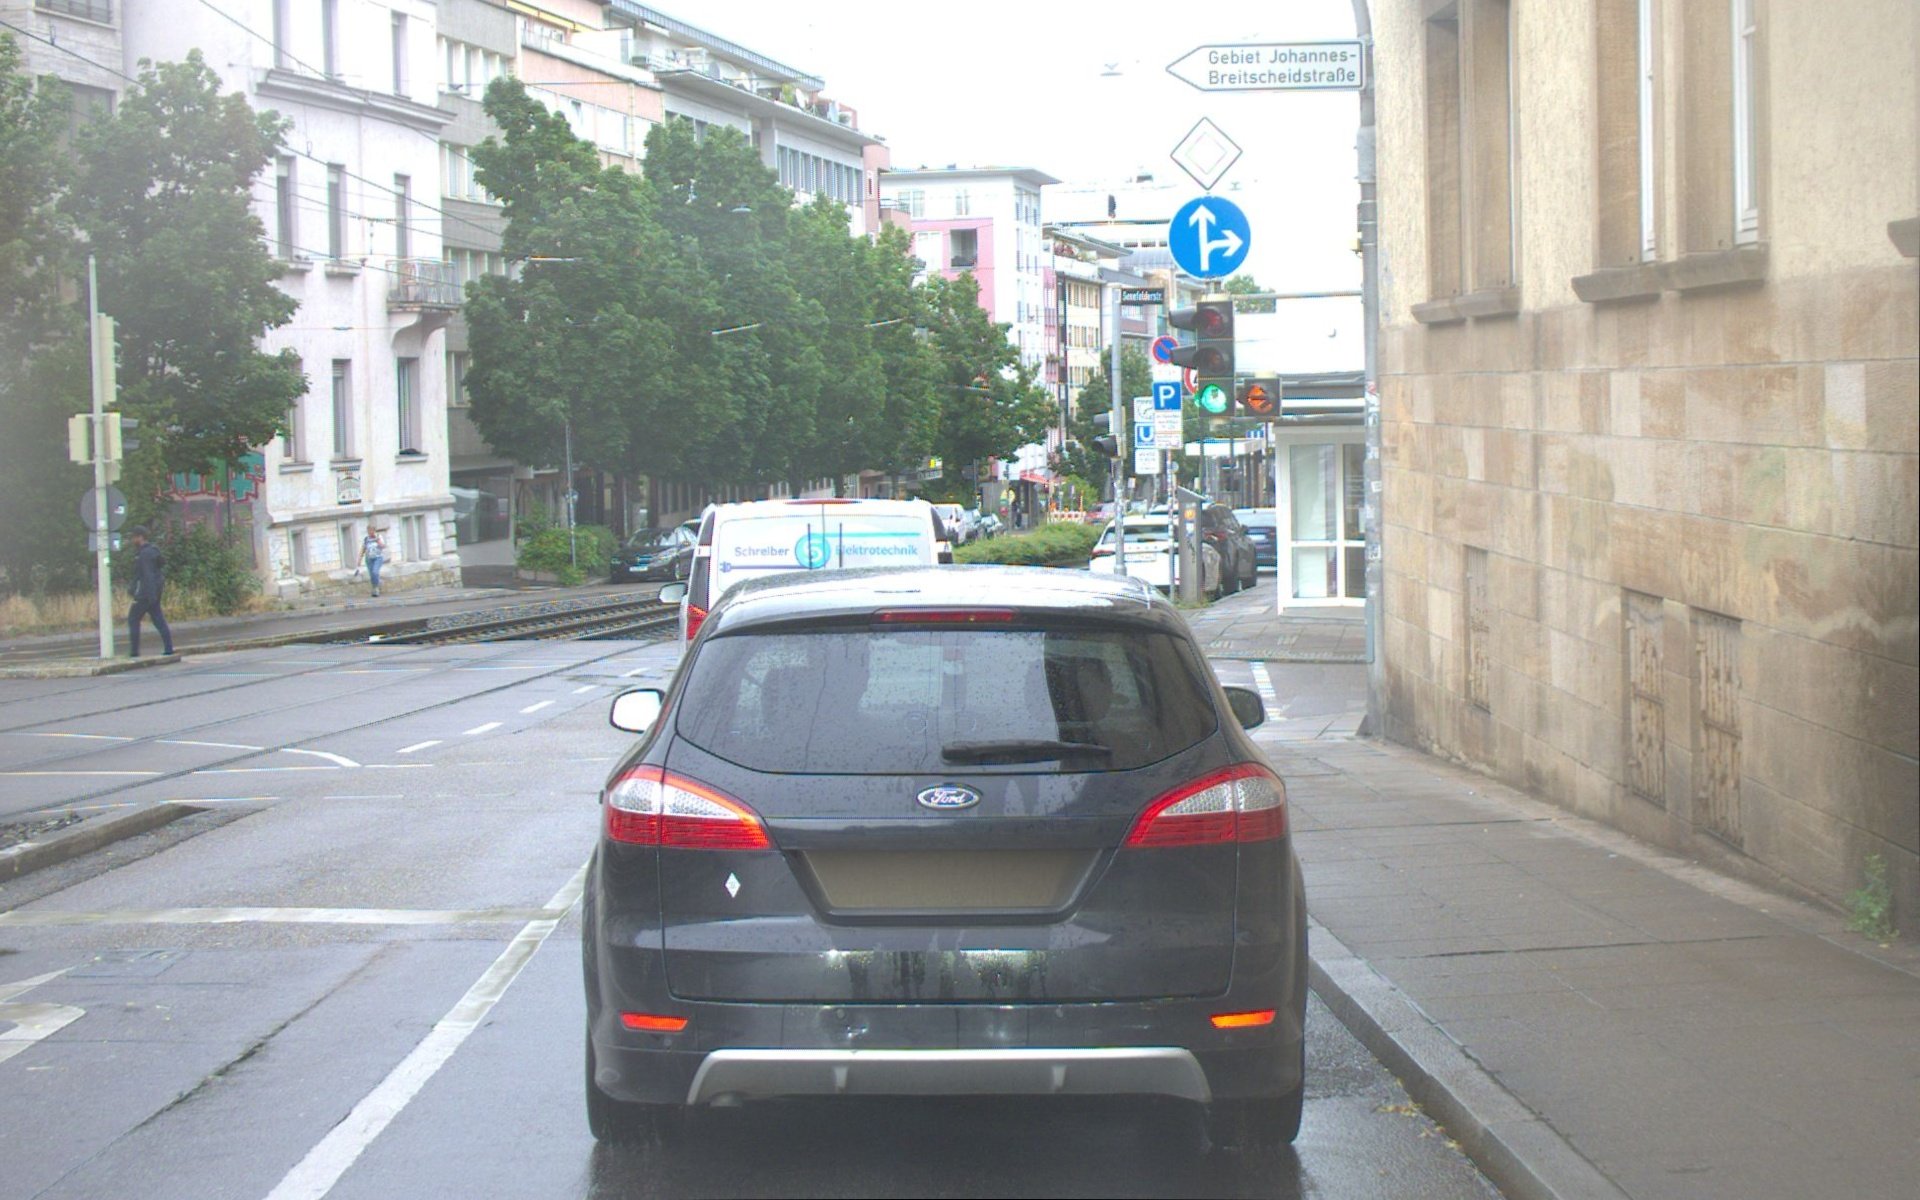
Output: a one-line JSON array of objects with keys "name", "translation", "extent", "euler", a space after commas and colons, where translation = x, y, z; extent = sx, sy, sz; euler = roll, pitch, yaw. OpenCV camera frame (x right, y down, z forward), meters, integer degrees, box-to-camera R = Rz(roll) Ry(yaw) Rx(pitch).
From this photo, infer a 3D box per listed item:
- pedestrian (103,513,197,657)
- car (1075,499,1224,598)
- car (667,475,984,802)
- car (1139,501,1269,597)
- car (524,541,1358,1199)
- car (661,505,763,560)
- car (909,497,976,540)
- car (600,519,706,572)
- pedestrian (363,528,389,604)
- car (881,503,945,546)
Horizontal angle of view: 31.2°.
[{"name": "pedestrian", "translation": [-10.438, -0.196, 44.307], "extent": [0.930, 1.823, 0.959], "euler": [1, 0, 2]}, {"name": "car", "translation": [3.066, -0.824, 54.920], "extent": [1.802, 1.450, 4.585], "euler": [-2, 0, 10]}, {"name": "car", "translation": [-0.916, 0.225, 24.125], "extent": [1.988, 2.053, 4.645], "euler": [1, 0, -2]}, {"name": "car", "translation": [4.426, -0.910, 61.707], "extent": [1.846, 1.627, 4.585], "euler": [-1, 1, 10]}, {"name": "car", "translation": [-0.070, 0.613, 9.663], "extent": [1.842, 1.502, 4.000], "euler": [1, 0, -1]}, {"name": "car", "translation": [-7.107, -1.921, 98.912], "extent": [1.856, 1.543, 4.719], "euler": [0, 1, 10]}, {"name": "car", "translation": [-0.673, -3.258, 137.983], "extent": [1.856, 1.631, 4.933], "euler": [0, 1, 10]}, {"name": "car", "translation": [-8.225, -1.442, 92.527], "extent": [1.694, 1.373, 4.719], "euler": [0, 0, 10]}, {"name": "pedestrian", "translation": [-12.899, -0.752, 75.960], "extent": [0.467, 1.646, 0.582], "euler": [1, 0, -2]}, {"name": "car", "translation": [-1.740, -2.829, 128.850], "extent": [1.668, 1.553, 4.044], "euler": [0, 0, 10]}]
